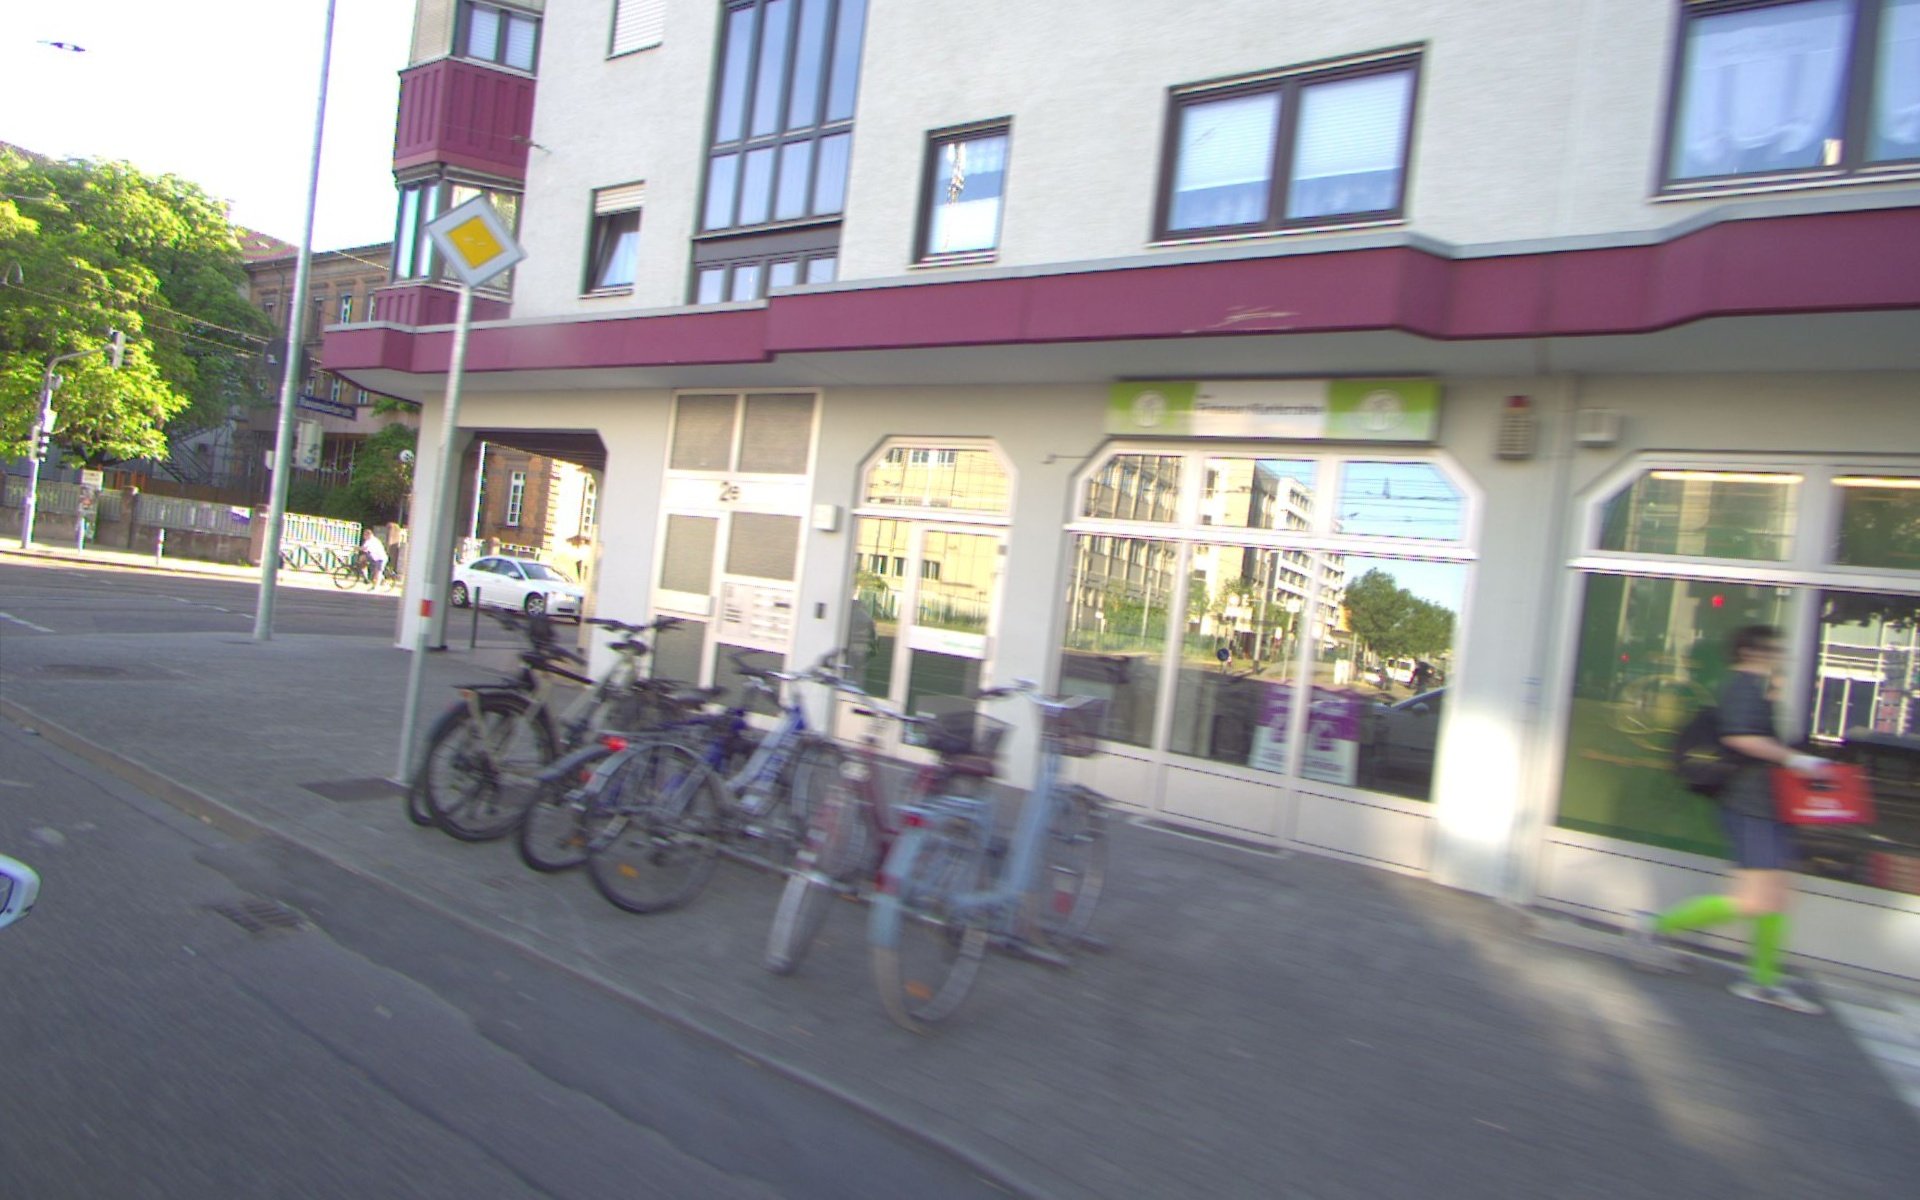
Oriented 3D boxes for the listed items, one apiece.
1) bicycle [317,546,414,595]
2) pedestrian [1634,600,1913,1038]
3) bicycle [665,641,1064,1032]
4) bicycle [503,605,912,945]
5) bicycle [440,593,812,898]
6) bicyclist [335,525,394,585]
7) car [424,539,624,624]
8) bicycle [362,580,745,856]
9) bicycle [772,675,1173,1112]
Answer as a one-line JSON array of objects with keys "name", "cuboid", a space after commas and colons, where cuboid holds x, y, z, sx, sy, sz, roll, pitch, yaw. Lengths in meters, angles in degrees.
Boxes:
[{"name": "bicycle", "cuboid": [-17.312, -0.851, 29.353, 0.830, 1.132, 2.331, 8, 0, 21]}, {"name": "pedestrian", "cuboid": [3.963, 1.005, 4.992, 0.788, 1.880, 0.723, 8, 1, 32]}, {"name": "bicycle", "cuboid": [-0.263, 0.852, 4.302, 0.580, 1.214, 1.981, 7, 0, 28]}, {"name": "bicycle", "cuboid": [-1.050, 0.739, 4.663, 0.488, 1.235, 1.832, 8, 0, 35]}, {"name": "bicycle", "cuboid": [-1.544, 0.668, 4.925, 0.488, 1.214, 1.623, 8, 0, 36]}, {"name": "bicyclist", "cuboid": [-17.289, -1.300, 29.214, 0.993, 1.527, 0.928, 8, 0, 21]}, {"name": "car", "cuboid": [-11.304, -0.484, 26.050, 4.811, 1.473, 1.855, 8, 0, 24]}, {"name": "bicycle", "cuboid": [-2.085, 0.609, 5.426, 0.537, 1.214, 1.802, 6, -1, 36]}, {"name": "bicycle", "cuboid": [0.187, 0.928, 3.877, 0.562, 1.184, 1.944, 8, 0, 29]}]
